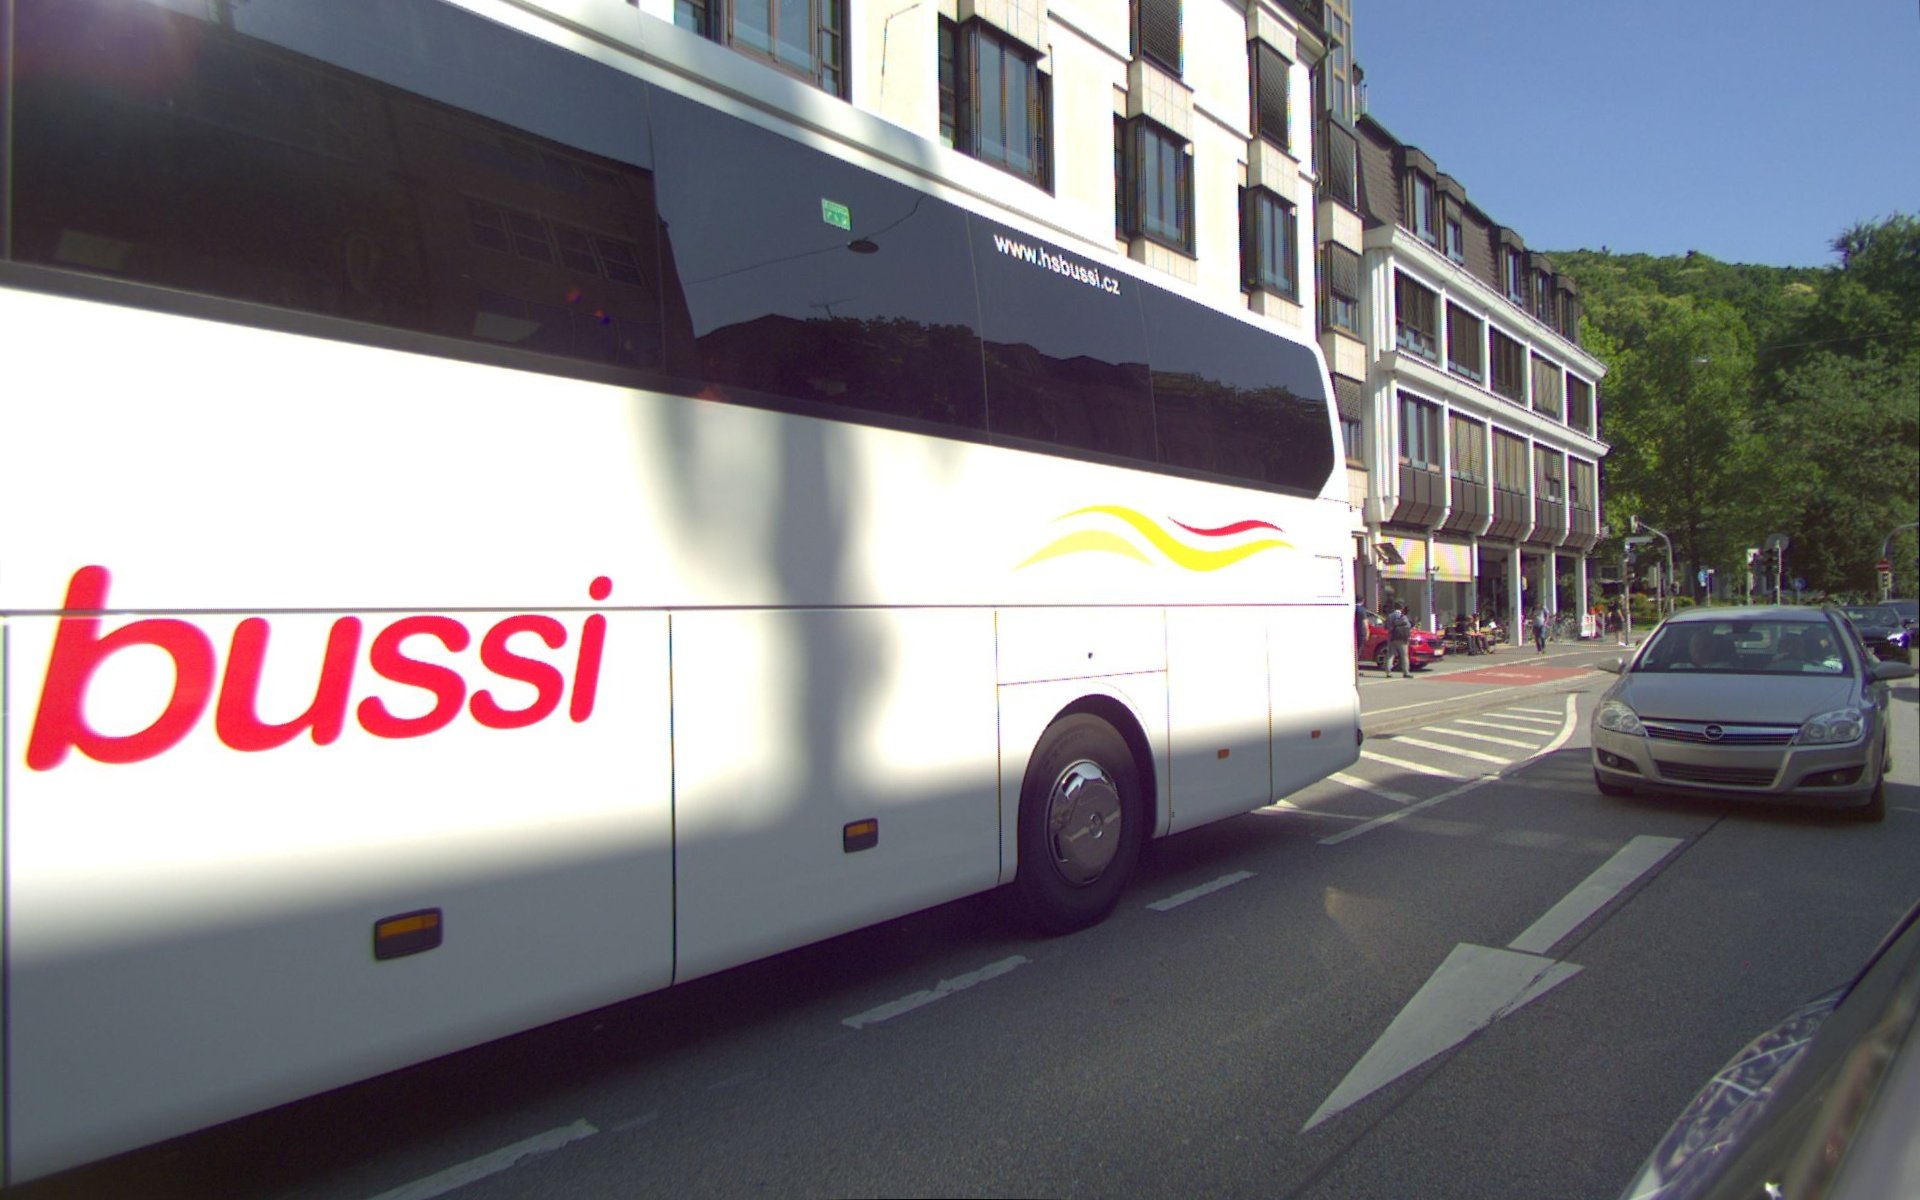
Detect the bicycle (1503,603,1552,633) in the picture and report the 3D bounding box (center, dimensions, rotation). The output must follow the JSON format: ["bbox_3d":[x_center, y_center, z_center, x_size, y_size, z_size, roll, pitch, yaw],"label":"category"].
[{"bbox_3d":[25.520,0.820,45.510,1.827,1.333,0.530,0,-1,8],"label":"bicycle"}]

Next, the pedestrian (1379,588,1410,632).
[{"bbox_3d":[14.278,0.339,33.254,0.711,1.414,0.685,-2,0,45],"label":"pedestrian"}]

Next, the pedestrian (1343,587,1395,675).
[{"bbox_3d":[9.038,0.663,22.371,0.820,1.874,0.696,-2,0,-36],"label":"pedestrian"}]

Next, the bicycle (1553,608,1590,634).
[{"bbox_3d":[25.466,0.865,42.144,1.441,1.079,0.310,0,0,-9],"label":"bicycle"}]

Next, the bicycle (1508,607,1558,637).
[{"bbox_3d":[22.286,0.855,39.358,0.272,1.134,1.721,0,0,-37],"label":"bicycle"}]

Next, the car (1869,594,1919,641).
[{"bbox_3d":[31.956,0.551,33.931,4.272,1.447,1.937,-1,0,-45],"label":"car"}]

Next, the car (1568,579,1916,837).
[{"bbox_3d":[6.510,0.660,8.220,1.707,1.542,4.336,-2,-2,44],"label":"car"}]

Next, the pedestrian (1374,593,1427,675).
[{"bbox_3d":[9.447,0.718,21.717,0.820,1.707,0.696,0,-1,-36],"label":"pedestrian"}]

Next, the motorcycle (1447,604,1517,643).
[{"bbox_3d":[18.836,0.833,36.606,0.929,1.307,2.248,-2,0,-16],"label":"motorcycle"}]

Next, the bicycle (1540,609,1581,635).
[{"bbox_3d":[24.588,0.896,41.458,1.444,1.079,0.377,0,0,3],"label":"bicycle"}]

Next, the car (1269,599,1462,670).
[{"bbox_3d":[9.968,0.789,25.093,1.811,1.513,4.049,-3,2,-42],"label":"car"}]

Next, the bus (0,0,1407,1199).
[{"bbox_3d":[-2.241,-0.337,3.732,2.881,3.791,12.227,-4,-3,44],"label":"bus"}]

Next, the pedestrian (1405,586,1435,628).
[{"bbox_3d":[15.723,0.245,34.610,0.711,1.414,0.685,-1,0,45],"label":"pedestrian"}]

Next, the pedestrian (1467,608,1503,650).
[{"bbox_3d":[15.964,0.882,30.799,0.684,1.232,0.713,-2,0,-36],"label":"pedestrian"}]

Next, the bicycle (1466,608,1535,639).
[{"bbox_3d":[20.211,0.890,37.864,2.226,1.111,0.274,-2,-2,33],"label":"bicycle"}]

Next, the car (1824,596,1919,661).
[{"bbox_3d":[22.567,0.655,24.994,1.841,1.447,4.150,-1,0,41],"label":"car"}]

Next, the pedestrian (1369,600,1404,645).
[{"bbox_3d":[13.749,0.732,32.619,0.813,1.414,0.686,-2,-1,44],"label":"pedestrian"}]

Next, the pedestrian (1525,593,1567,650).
[{"bbox_3d":[17.693,0.641,30.555,0.684,1.684,0.835,-2,0,-36],"label":"pedestrian"}]

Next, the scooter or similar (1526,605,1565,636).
[{"bbox_3d":[23.671,0.823,40.944,0.471,1.248,1.249,0,-1,-38],"label":"scooter or similar"}]

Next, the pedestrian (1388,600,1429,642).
[{"bbox_3d":[15.095,0.698,34.042,0.896,1.368,1.088,-2,0,45],"label":"pedestrian"}]

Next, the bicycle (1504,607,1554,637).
[{"bbox_3d":[21.981,0.845,39.115,0.272,1.134,1.721,0,0,-37],"label":"bicycle"}]

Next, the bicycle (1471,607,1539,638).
[{"bbox_3d":[20.618,0.866,38.319,2.231,1.135,0.274,-2,-2,39],"label":"bicycle"}]

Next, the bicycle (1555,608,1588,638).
[{"bbox_3d":[23.598,0.887,39.057,2.201,1.135,0.277,0,-1,-37],"label":"bicycle"}]

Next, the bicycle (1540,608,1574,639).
[{"bbox_3d":[23.142,0.898,39.215,2.201,1.135,0.277,0,-1,-37],"label":"bicycle"}]

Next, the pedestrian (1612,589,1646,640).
[{"bbox_3d":[24.882,0.535,37.623,0.683,1.859,0.835,-1,0,-36],"label":"pedestrian"}]

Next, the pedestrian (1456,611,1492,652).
[{"bbox_3d":[15.347,0.929,30.225,0.684,1.187,0.713,-2,0,-36],"label":"pedestrian"}]

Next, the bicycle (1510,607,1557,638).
[{"bbox_3d":[21.828,0.858,38.522,0.272,1.134,1.575,0,0,-37],"label":"bicycle"}]
